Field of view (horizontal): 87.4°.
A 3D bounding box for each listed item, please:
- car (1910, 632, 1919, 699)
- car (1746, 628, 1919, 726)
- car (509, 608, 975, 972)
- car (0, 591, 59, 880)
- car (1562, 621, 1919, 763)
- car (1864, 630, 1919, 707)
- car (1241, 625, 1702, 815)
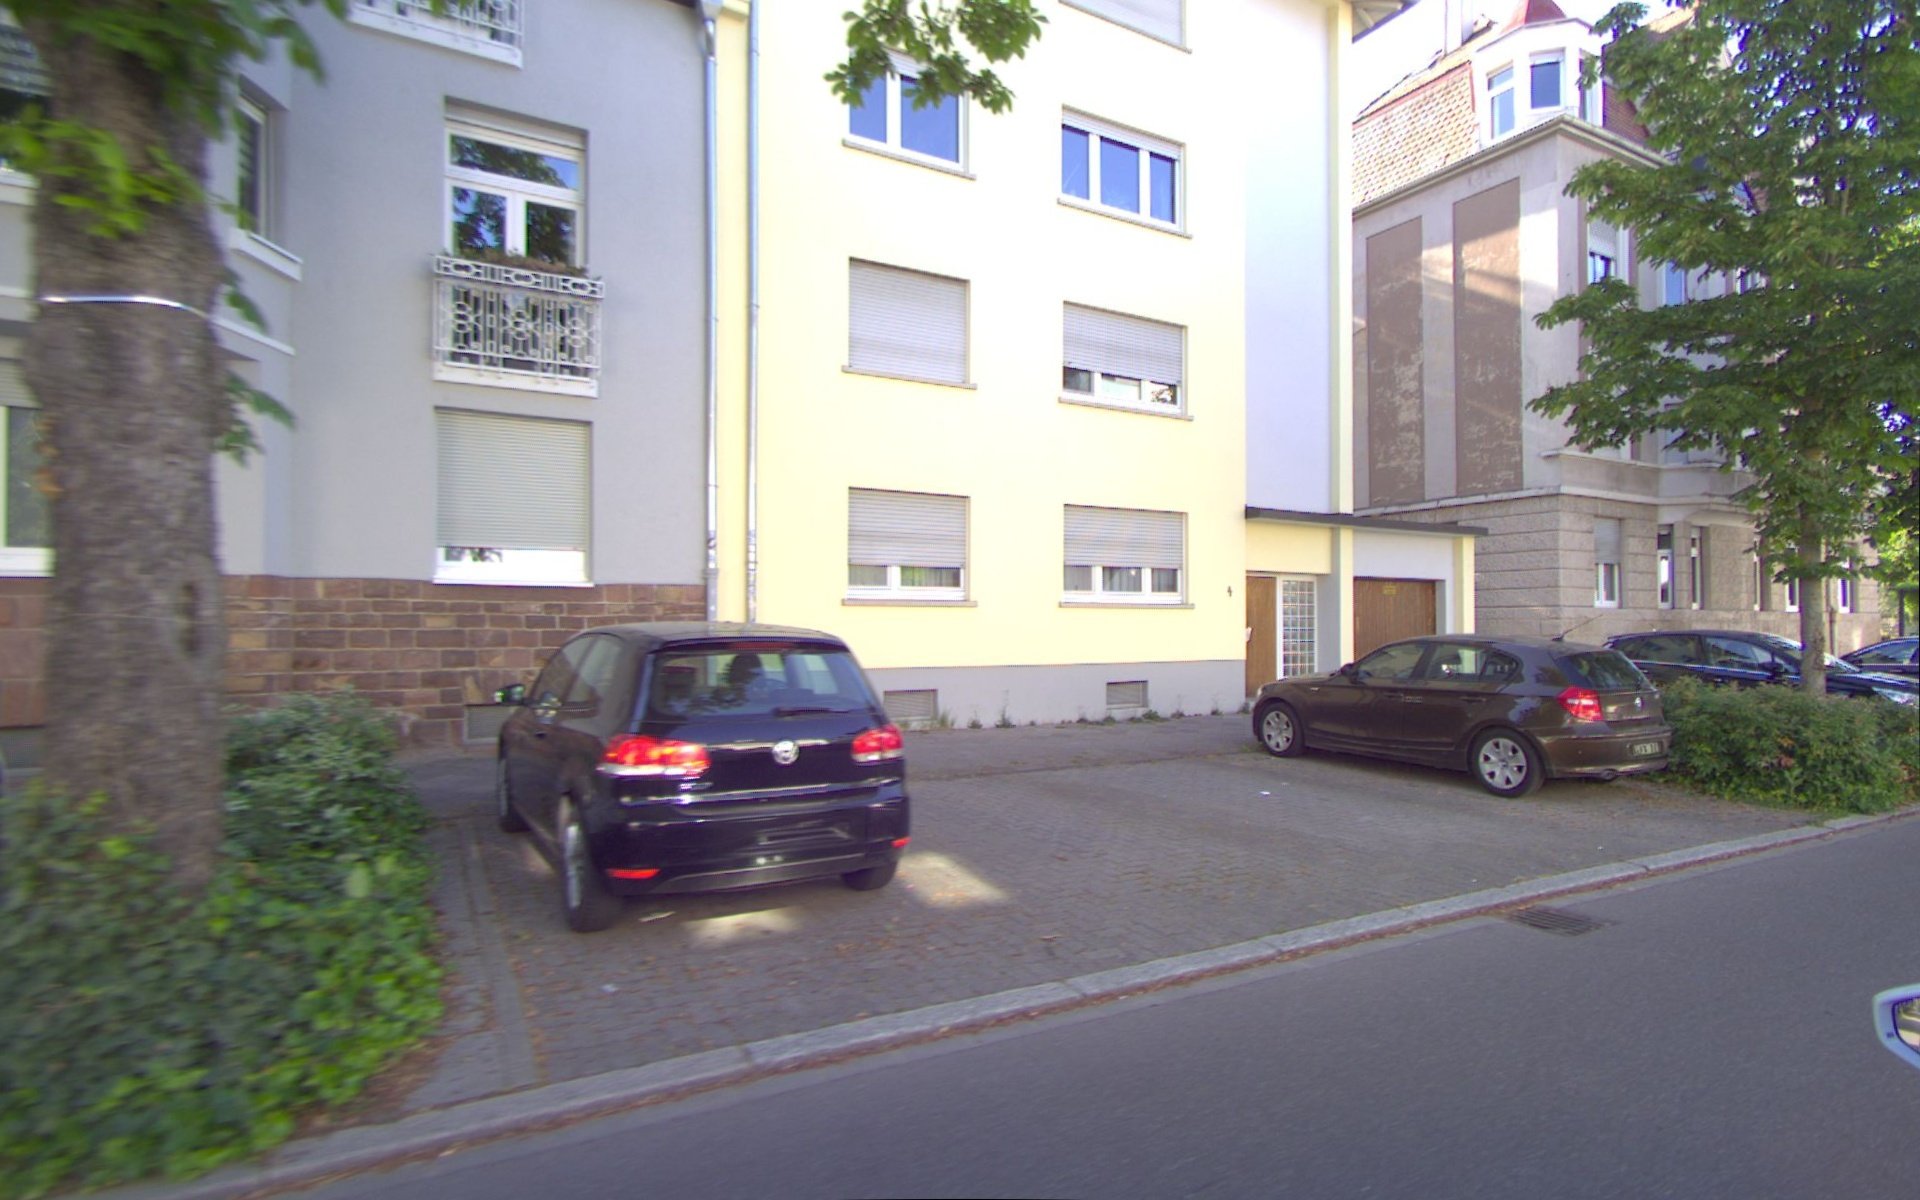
[{"bbox_3d":[22.357,1.418,20.824,1.710,1.449,3.563,1,-1,-30],"label":"car"},{"bbox_3d":[16.015,1.283,16.562,1.848,1.498,4.451,2,-1,-31],"label":"car"},{"bbox_3d":[-1.693,0.844,6.423,1.779,1.463,4.004,2,0,-30],"label":"car"},{"bbox_3d":[-5.293,0.708,3.953,1.785,1.504,4.003,1,0,-30],"label":"car"},{"bbox_3d":[10.790,1.124,13.545,1.981,1.520,4.142,2,0,-36],"label":"car"},{"bbox_3d":[20.327,1.387,19.021,1.848,1.498,4.451,2,-1,-31],"label":"car"},{"bbox_3d":[5.001,1.035,10.393,1.750,1.441,3.967,0,0,-30],"label":"car"}]
